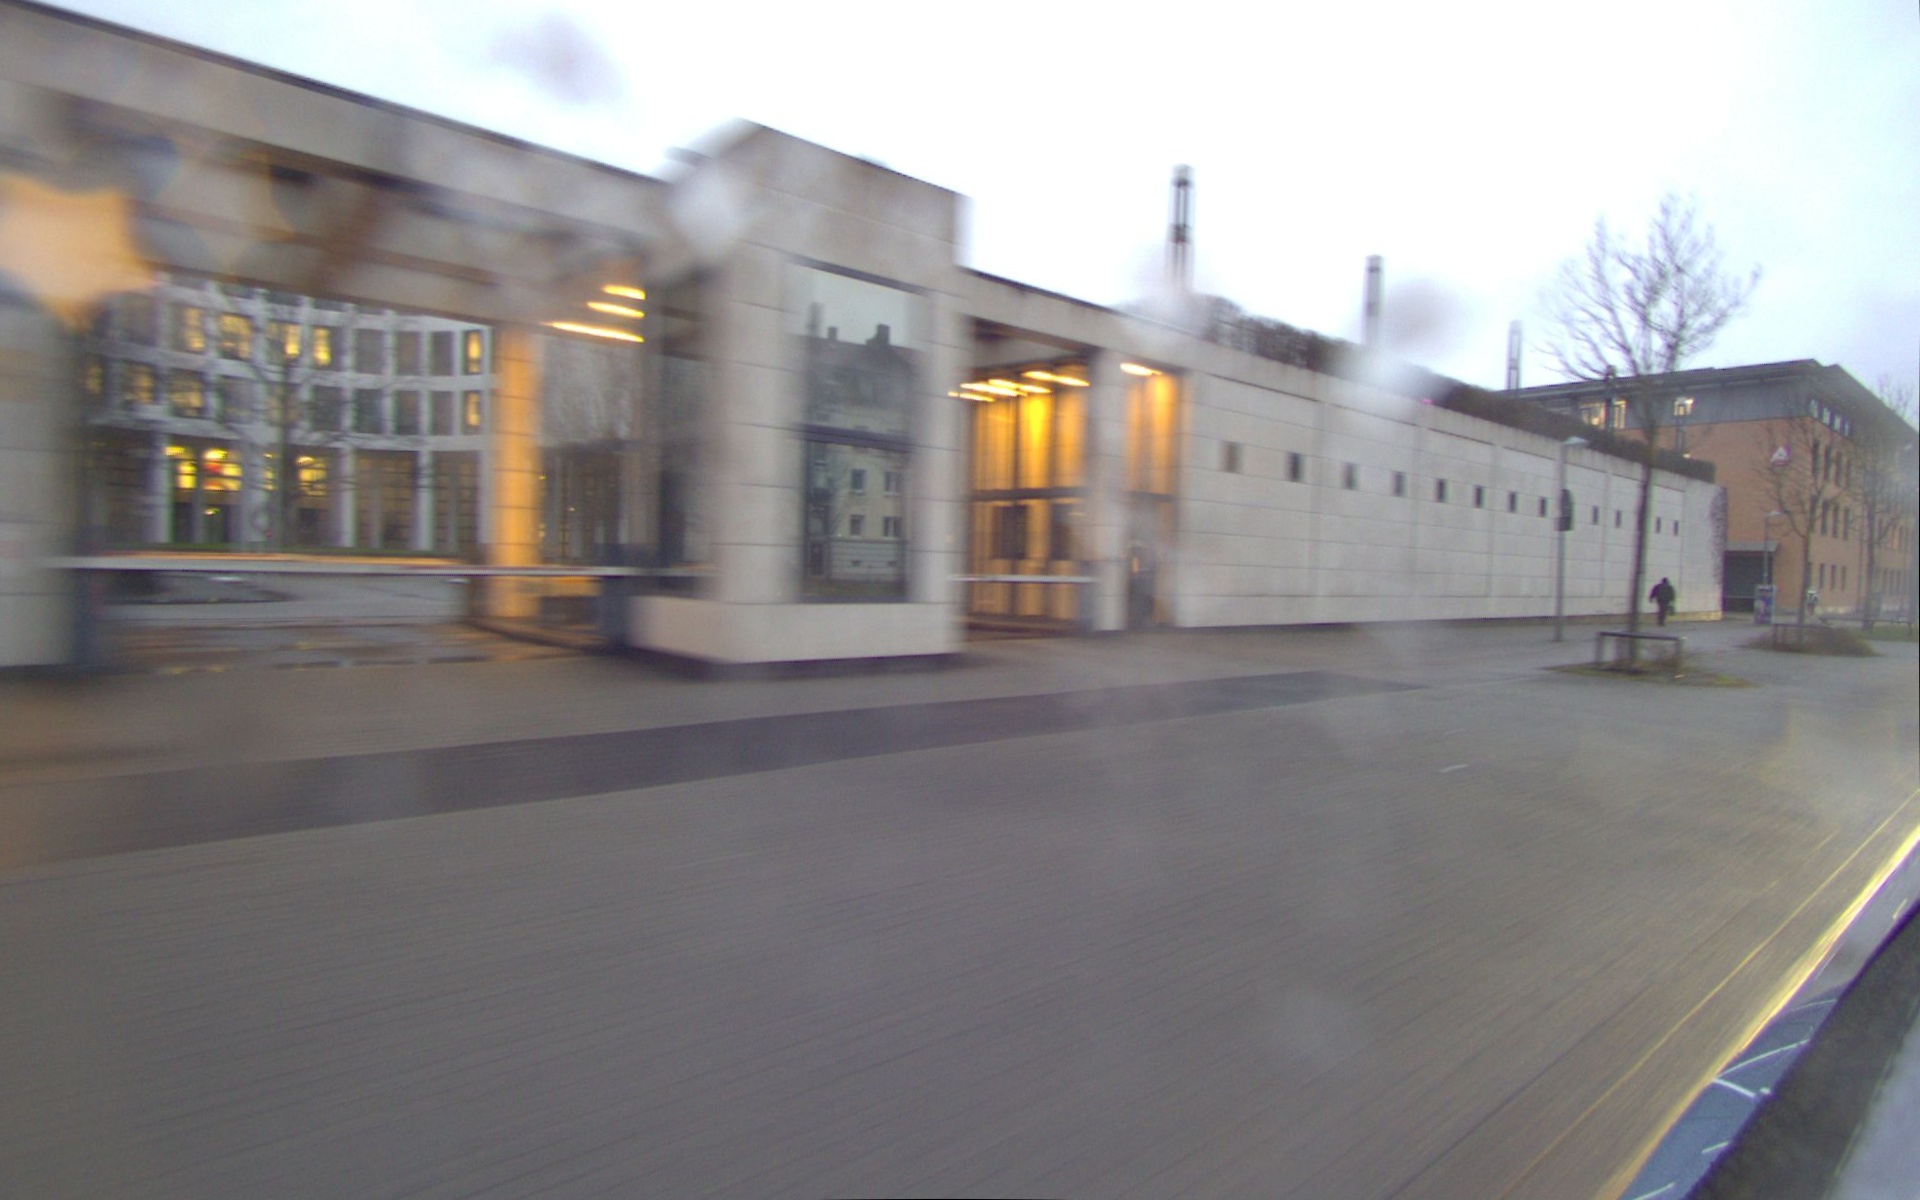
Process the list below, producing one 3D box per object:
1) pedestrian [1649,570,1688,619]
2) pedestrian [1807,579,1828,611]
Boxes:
[{"bbox_3d":[24.435,-0.201,34.907,0.868,1.650,0.814,0,4,-41],"label":"pedestrian"},{"bbox_3d":[46.000,-0.279,54.308,0.756,1.668,0.674,0,4,-41],"label":"pedestrian"}]
